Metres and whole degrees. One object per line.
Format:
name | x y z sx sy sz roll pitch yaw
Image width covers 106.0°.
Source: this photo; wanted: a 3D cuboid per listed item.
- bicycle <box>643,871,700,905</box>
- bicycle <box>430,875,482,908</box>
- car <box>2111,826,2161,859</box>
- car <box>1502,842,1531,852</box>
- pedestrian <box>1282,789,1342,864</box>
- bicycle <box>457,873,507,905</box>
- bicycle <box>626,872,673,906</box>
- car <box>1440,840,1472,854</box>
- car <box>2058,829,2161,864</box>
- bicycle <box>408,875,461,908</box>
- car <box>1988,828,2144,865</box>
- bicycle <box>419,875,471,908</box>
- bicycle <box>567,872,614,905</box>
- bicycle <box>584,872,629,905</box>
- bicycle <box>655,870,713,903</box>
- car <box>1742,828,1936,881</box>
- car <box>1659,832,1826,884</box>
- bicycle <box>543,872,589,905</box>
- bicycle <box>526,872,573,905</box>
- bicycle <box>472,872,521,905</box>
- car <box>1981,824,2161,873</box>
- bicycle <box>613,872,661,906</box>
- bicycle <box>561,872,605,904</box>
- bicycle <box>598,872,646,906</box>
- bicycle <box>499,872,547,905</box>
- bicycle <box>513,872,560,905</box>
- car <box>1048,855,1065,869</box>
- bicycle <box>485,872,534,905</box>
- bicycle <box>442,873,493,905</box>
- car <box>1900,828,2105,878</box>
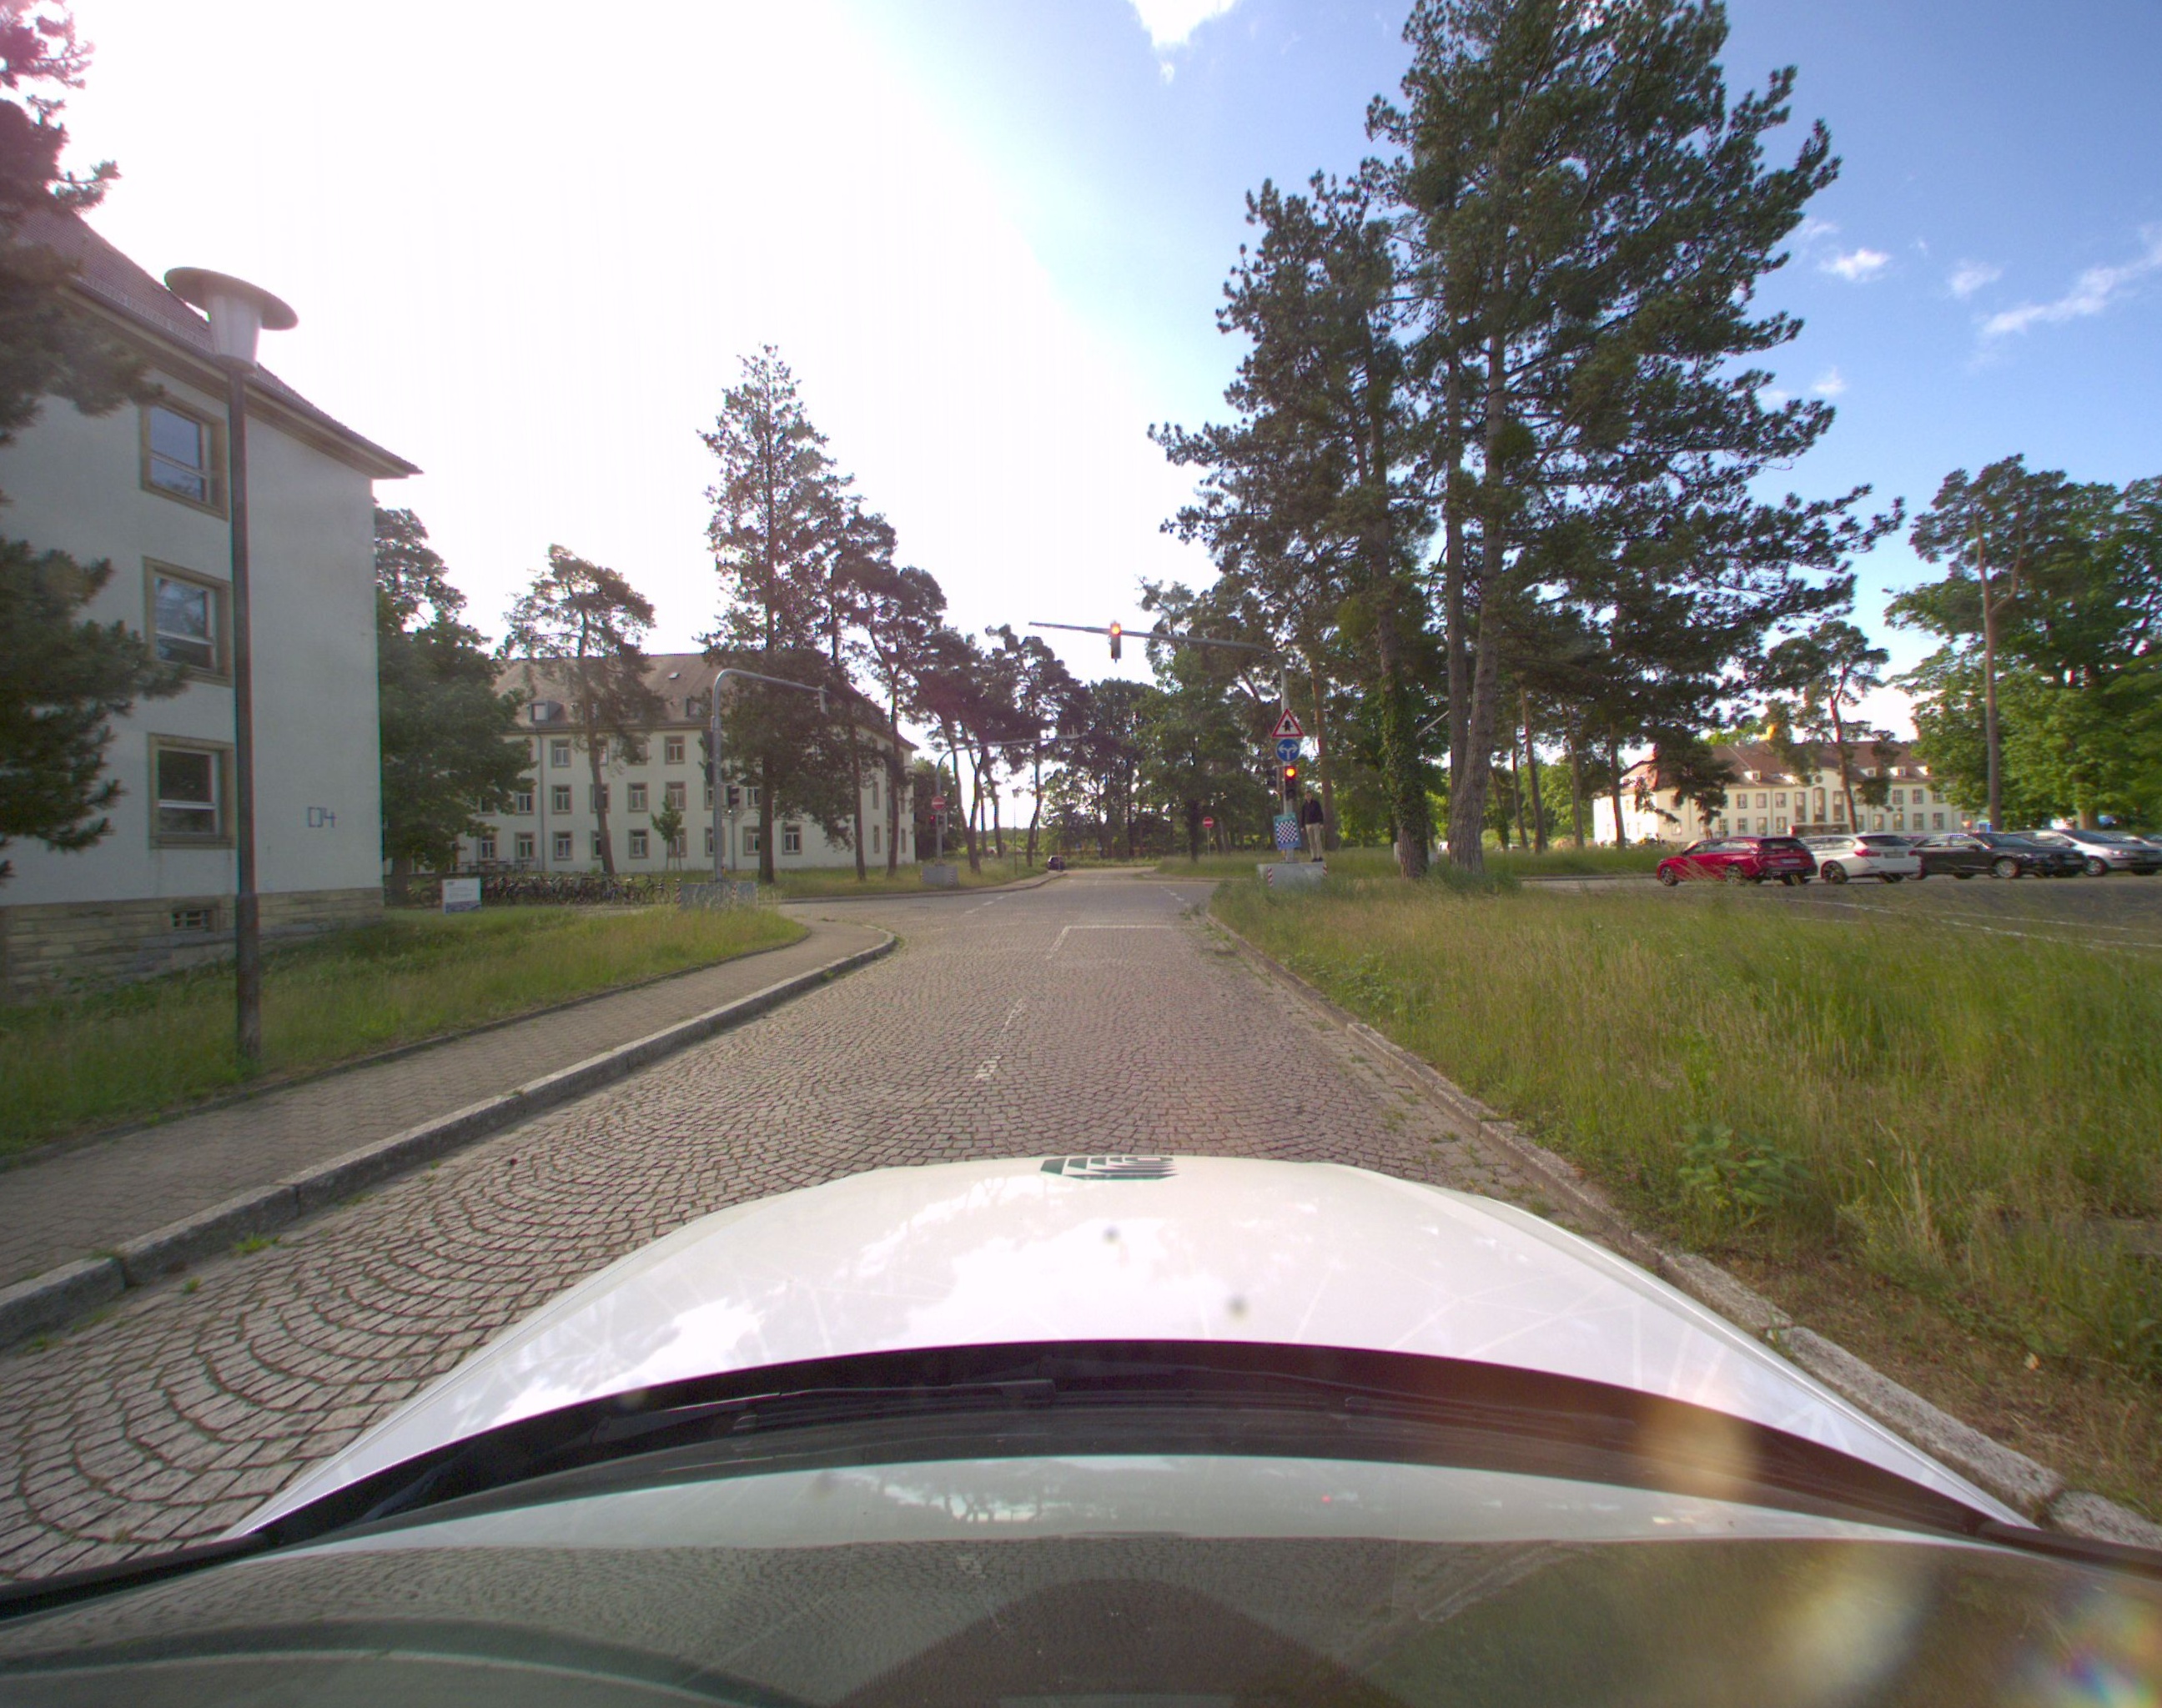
bicycle | -15.743 1.291 31.316 1.855 1.220 0.635 -2 0 1
bicycle | -25.187 1.489 32.849 0.512 1.220 1.938 -2 0 2
car | 47.918 -0.511 35.116 1.717 1.468 4.243 0 0 2
car | 49.882 -0.761 93.347 1.713 1.087 4.009 -2 0 8
pedestrian | 5.802 -0.671 20.438 1.157 1.796 1.069 -2 0 31
bicycle | -24.115 1.390 32.840 0.512 1.220 1.938 -2 0 2
bicycle | -16.976 1.342 32.096 0.630 1.220 2.115 -2 0 2
car | 42.857 -0.786 93.141 1.820 1.582 4.164 -2 0 2
car | 44.901 -0.295 34.626 1.717 1.425 4.243 0 0 2
bicycle | -26.064 1.496 32.870 0.512 1.220 1.938 -2 0 2
car | 42.530 -0.312 35.318 1.717 1.493 4.243 0 0 2
bicycle | -25.616 1.492 32.856 0.512 1.220 1.938 -2 0 2
bicycle | -19.650 1.364 32.654 0.576 1.220 2.030 -2 0 2
bicycle | -18.906 1.357 32.512 0.570 1.220 1.990 -2 0 2
bicycle | -15.618 1.267 32.028 1.937 1.220 0.635 -2 0 1
car | 22.172 0.070 24.092 1.773 1.379 4.240 -2 -2 0
car | 19.289 0.146 24.012 1.649 1.399 4.131 0 -1 2
bicycle | -20.730 1.371 32.819 0.512 1.220 2.016 -2 0 2
bicycle | -21.379 1.376 32.783 0.512 1.220 1.978 -2 0 2
bicycle | -23.523 1.385 32.812 0.512 1.220 1.938 -2 0 2
car | 30.119 -0.151 24.648 1.716 1.372 3.796 0 0 4
bicycle | -17.459 1.347 32.095 0.630 1.220 2.125 -2 0 2
bicycle | -20.209 1.366 33.085 0.546 1.220 1.900 -2 0 2
bicycle | -18.063 1.352 32.112 0.630 1.220 2.105 -2 0 2
bicycle | -22.423 1.377 32.761 0.512 1.220 1.955 -2 0 2
bicycle | -21.897 1.376 32.785 0.512 1.220 1.978 -2 0 2
car | -2.611 0.854 88.393 1.704 1.496 3.918 -2 0 0
bicycle | -22.978 1.381 32.781 0.512 1.220 1.938 -2 0 2
bicycle | -24.726 1.394 32.838 0.512 1.220 1.938 -2 0 2
car | 27.286 -0.026 24.340 1.610 1.315 4.048 -3 0 3
